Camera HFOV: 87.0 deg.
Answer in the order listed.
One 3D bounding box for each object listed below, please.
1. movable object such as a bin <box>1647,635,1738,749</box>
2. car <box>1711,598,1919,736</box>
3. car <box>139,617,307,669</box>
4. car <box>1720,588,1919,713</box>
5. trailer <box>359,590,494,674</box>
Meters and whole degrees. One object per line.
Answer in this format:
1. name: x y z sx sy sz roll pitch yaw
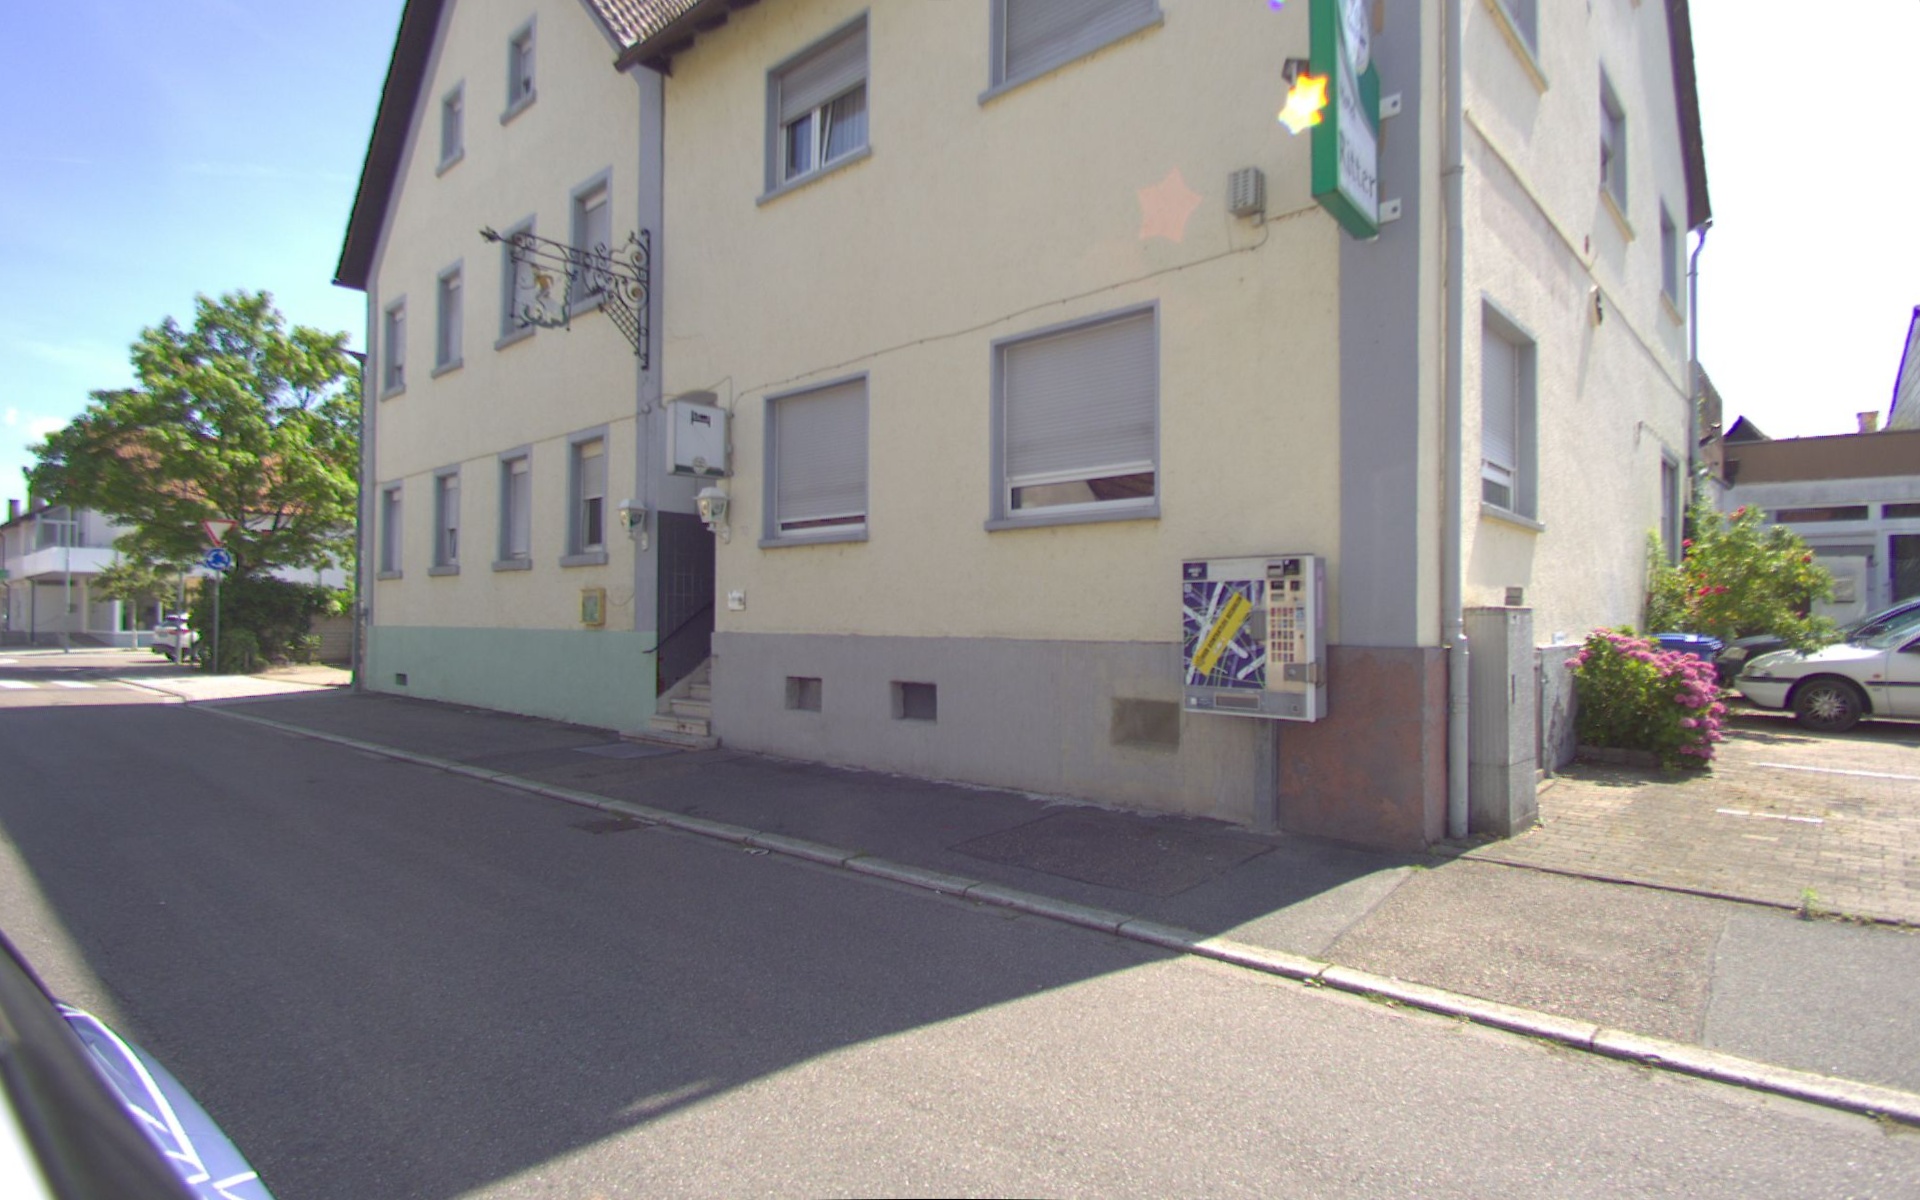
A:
1. movable object such as a bin: 7.455 0.912 10.298 0.680 1.080 0.571 -1 -1 43
2. car: 10.820 0.667 10.403 4.829 1.390 1.804 -1 -1 42
3. car: -25.297 1.439 34.930 1.798 1.631 4.409 -1 -1 25
4. car: 12.378 0.590 12.345 4.829 1.492 1.804 -1 -1 42
5. trailer: -15.825 0.915 29.939 4.223 2.297 2.151 -1 -1 41
